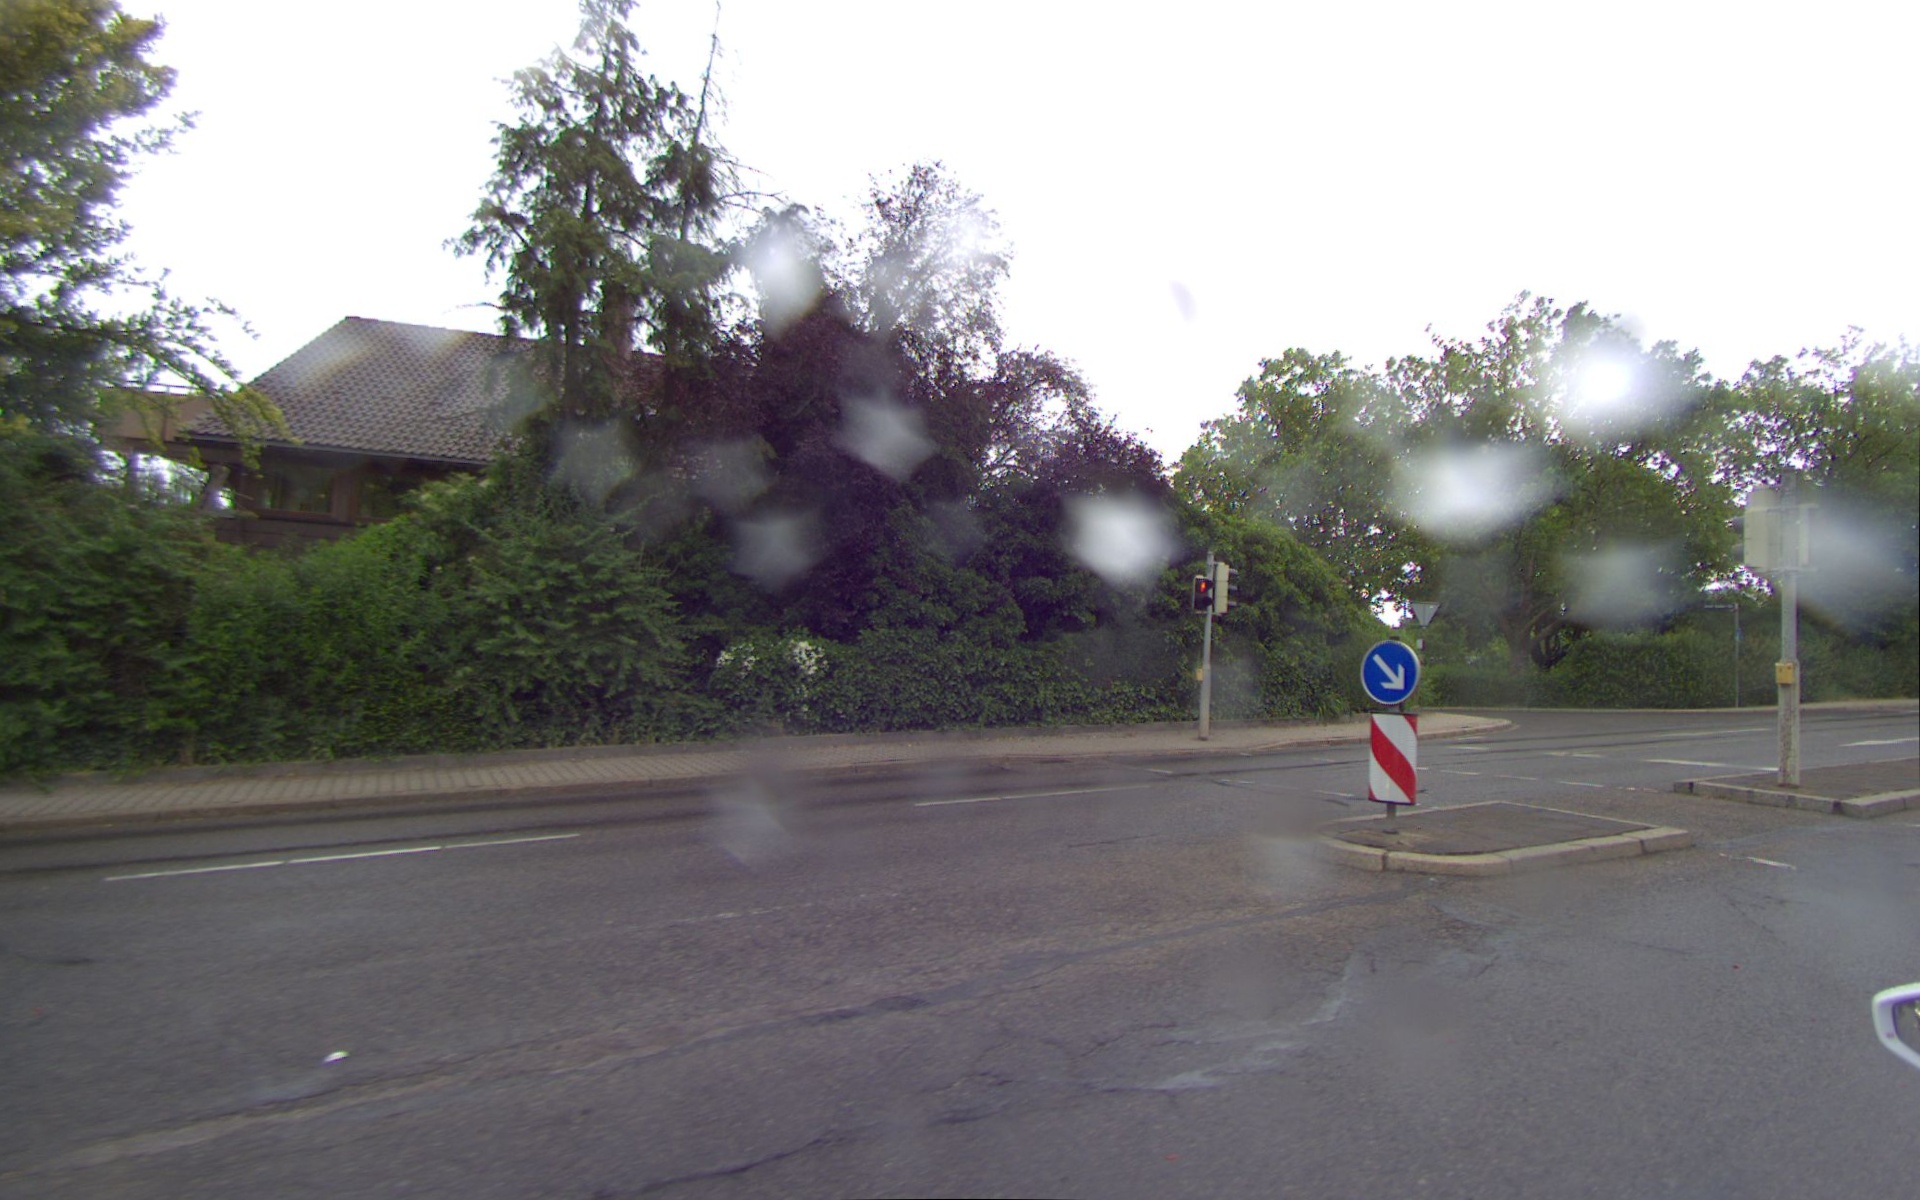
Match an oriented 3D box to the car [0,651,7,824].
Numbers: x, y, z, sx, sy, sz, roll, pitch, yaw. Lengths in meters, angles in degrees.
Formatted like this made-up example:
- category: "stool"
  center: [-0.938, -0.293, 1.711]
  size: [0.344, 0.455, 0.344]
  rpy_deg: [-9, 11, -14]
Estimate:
- category: "car"
  center: [-9.325, 1.086, 6.579]
  size: [4.107, 1.504, 1.720]
  rpy_deg: [1, -4, -30]
